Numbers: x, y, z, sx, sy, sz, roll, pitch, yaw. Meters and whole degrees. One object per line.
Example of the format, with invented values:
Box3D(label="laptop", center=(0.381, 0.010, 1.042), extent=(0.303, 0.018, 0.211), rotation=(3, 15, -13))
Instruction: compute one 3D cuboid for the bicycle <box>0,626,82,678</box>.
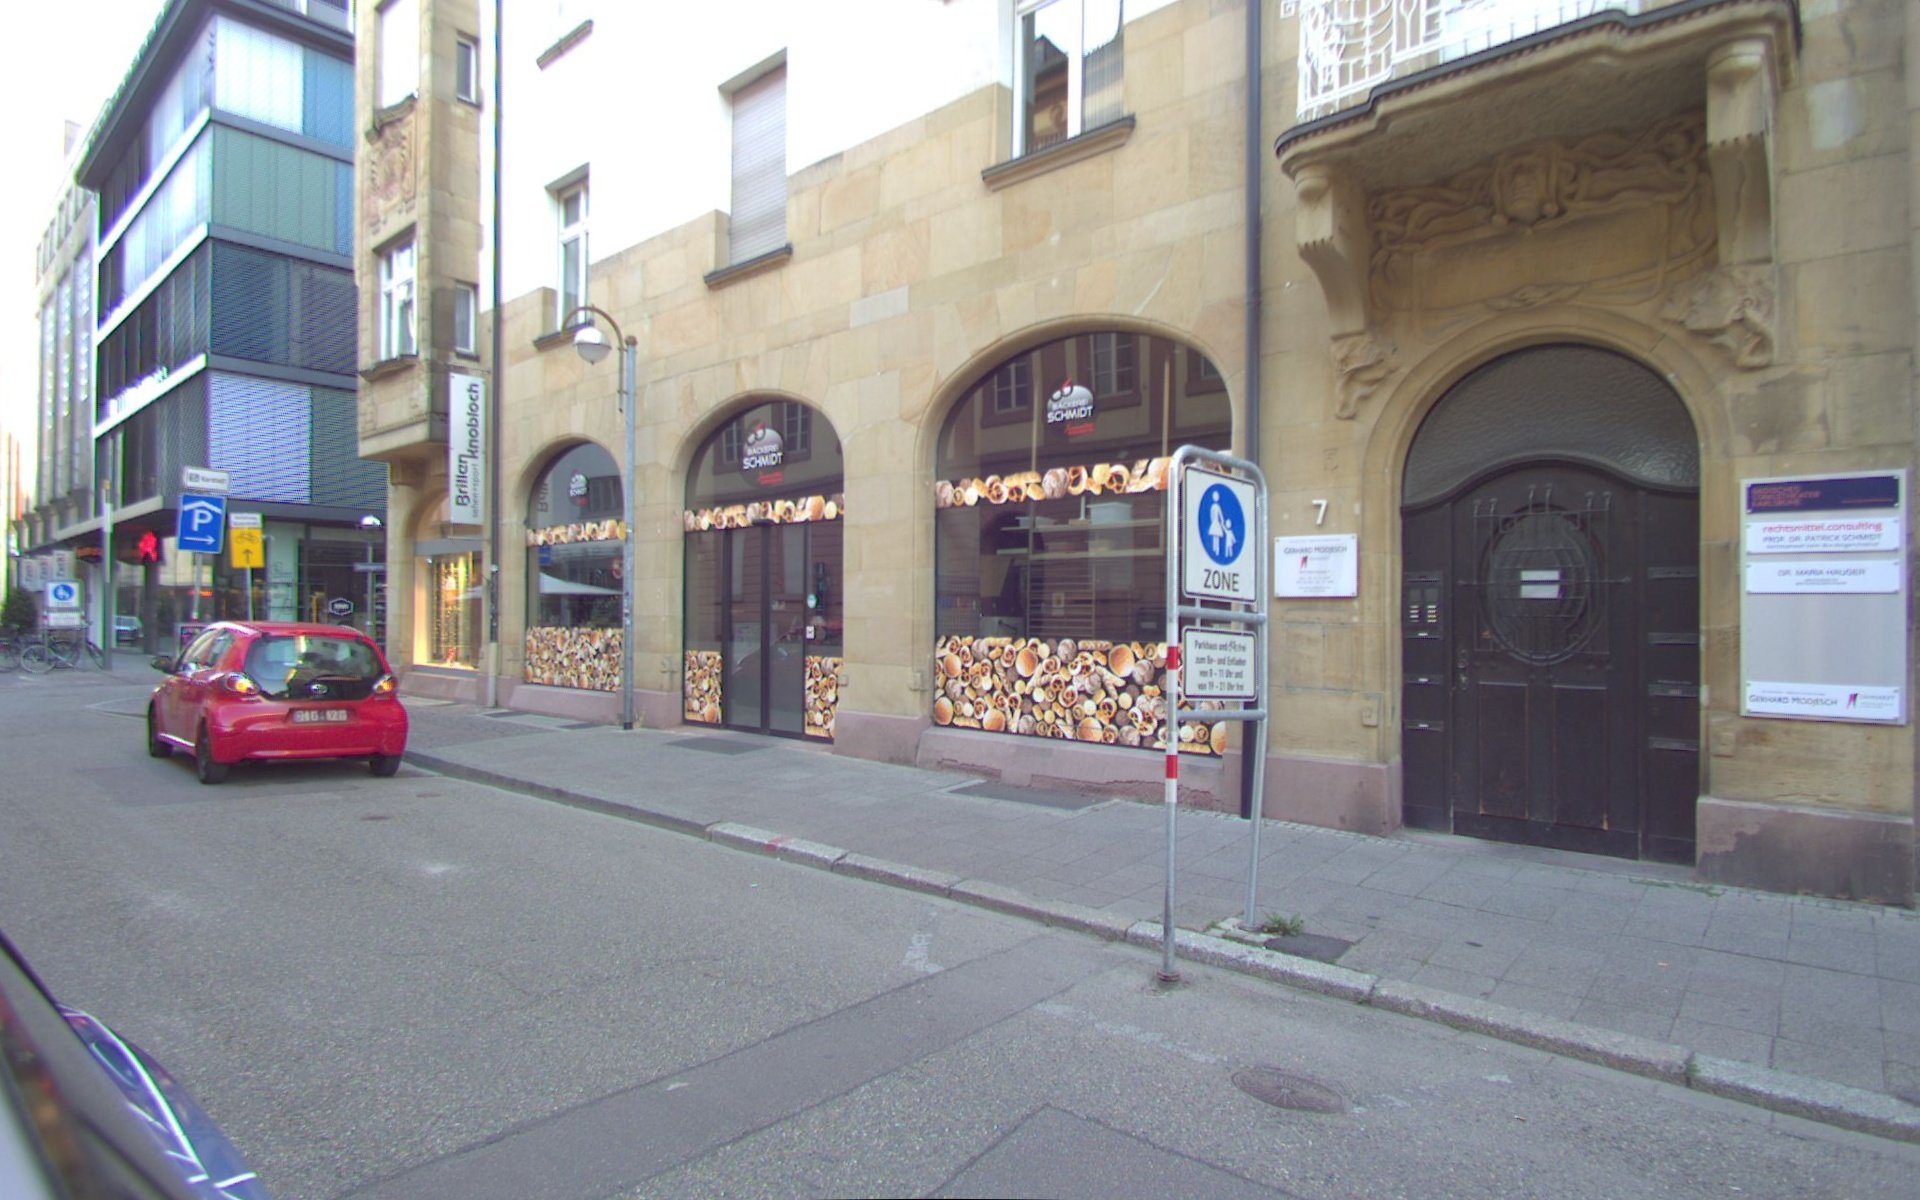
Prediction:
Box3D(label="bicycle", center=(-23.032, 1.286, 25.057), extent=(0.517, 1.190, 1.878), rotation=(-3, -1, 40))

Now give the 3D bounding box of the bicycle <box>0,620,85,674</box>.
Box3D(label="bicycle", center=(-24.829, 1.254, 27.189), extent=(0.538, 1.279, 1.878), rotation=(-1, 3, 42))

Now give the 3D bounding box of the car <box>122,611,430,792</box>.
Box3D(label="car", center=(-7.073, 0.916, 10.309), extent=(3.931, 1.481, 1.639), rotation=(0, -5, 43))

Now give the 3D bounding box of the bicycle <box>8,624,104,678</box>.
Box3D(label="bicycle", center=(-21.716, 1.199, 24.333), extent=(0.509, 1.213, 1.648), rotation=(-1, 0, 41))
